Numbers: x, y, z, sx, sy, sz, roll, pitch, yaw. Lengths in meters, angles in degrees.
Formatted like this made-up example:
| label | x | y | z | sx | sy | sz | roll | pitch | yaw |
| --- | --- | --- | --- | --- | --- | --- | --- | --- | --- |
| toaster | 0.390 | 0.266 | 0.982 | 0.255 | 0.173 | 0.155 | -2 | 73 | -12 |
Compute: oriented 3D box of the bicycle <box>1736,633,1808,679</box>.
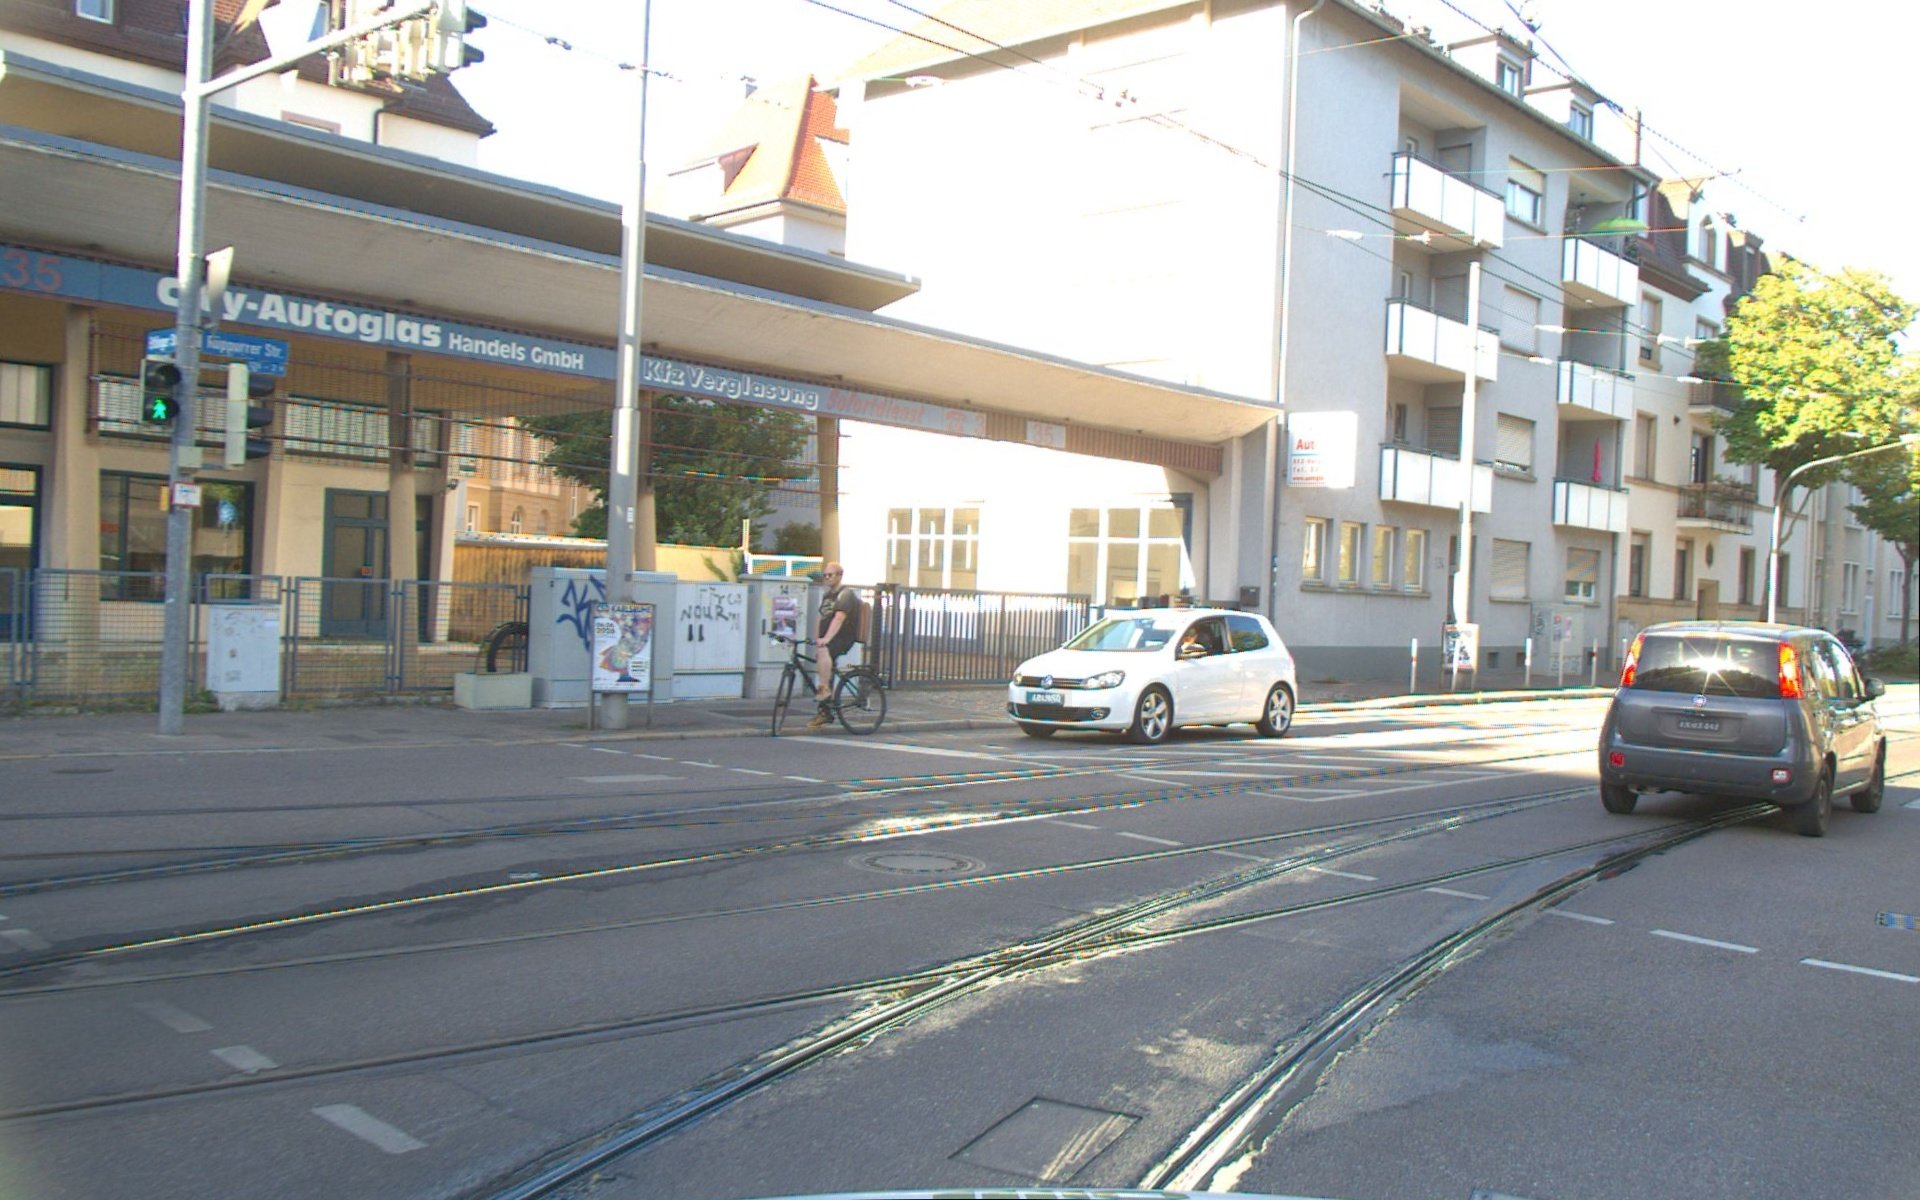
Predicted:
| label | x | y | z | sx | sy | sz | roll | pitch | yaw |
| --- | --- | --- | --- | --- | --- | --- | --- | --- | --- |
| bicycle | 21.151 | 1.456 | 43.105 | 1.573 | 1.062 | 0.459 | 4 | 0 | 11 |

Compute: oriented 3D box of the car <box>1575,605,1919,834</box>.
| label | x | y | z | sx | sy | sz | roll | pitch | yaw |
| --- | --- | --- | --- | --- | --- | --- | --- | --- | --- |
| car | 6.645 | 0.893 | 13.596 | 1.705 | 1.526 | 3.978 | 3 | 0 | 40 |

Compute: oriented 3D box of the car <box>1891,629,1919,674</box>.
| label | x | y | z | sx | sy | sz | roll | pitch | yaw |
| --- | --- | --- | --- | --- | --- | --- | --- | --- | --- |
| car | 34.281 | 1.814 | 58.350 | 1.770 | 1.512 | 3.978 | 2 | 0 | 40 |

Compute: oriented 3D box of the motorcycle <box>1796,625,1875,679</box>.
| label | x | y | z | sx | sy | sz | roll | pitch | yaw |
| --- | --- | --- | --- | --- | --- | --- | --- | --- | --- |
| motorcycle | 26.454 | 1.555 | 49.943 | 1.436 | 1.507 | 3.084 | 2 | 0 | 41 |

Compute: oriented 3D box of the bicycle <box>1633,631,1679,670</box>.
| label | x | y | z | sx | sy | sz | roll | pitch | yaw |
| --- | --- | --- | --- | --- | --- | --- | --- | --- | --- |
| bicycle | 18.723 | 1.354 | 44.492 | 0.499 | 1.024 | 2.008 | 2 | 0 | 42 |

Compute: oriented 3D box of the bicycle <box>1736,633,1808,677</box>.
| label | x | y | z | sx | sy | sz | roll | pitch | yaw |
| --- | --- | --- | --- | --- | --- | --- | --- | --- | --- |
| bicycle | 21.896 | 1.481 | 44.623 | 1.672 | 1.051 | 0.444 | 4 | 0 | 22 |

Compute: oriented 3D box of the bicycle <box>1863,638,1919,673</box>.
| label | x | y | z | sx | sy | sz | roll | pitch | yaw |
| --- | --- | --- | --- | --- | --- | --- | --- | --- | --- |
| bicycle | 31.400 | 1.873 | 55.640 | 1.709 | 1.041 | 0.609 | 4 | 0 | 23 |

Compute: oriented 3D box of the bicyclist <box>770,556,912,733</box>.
| label | x | y | z | sx | sy | sz | roll | pitch | yaw |
| --- | --- | --- | --- | --- | --- | --- | --- | --- | --- |
| bicyclist | -1.277 | 0.467 | 17.897 | 0.893 | 1.818 | 1.248 | 2 | 0 | 37 |

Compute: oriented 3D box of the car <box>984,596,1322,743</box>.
| label | x | y | z | sx | sy | sz | roll | pitch | yaw |
| --- | --- | --- | --- | --- | --- | --- | --- | --- | --- |
| car | 2.319 | 0.755 | 19.013 | 1.765 | 1.483 | 4.163 | 1 | -1 | 42 |

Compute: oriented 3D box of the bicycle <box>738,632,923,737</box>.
| label | x | y | z | sx | sy | sz | roll | pitch | yaw |
| --- | --- | --- | --- | --- | --- | --- | --- | --- | --- |
| bicycle | -1.361 | 0.885 | 17.776 | 0.715 | 1.035 | 2.035 | 2 | 0 | 42 |
